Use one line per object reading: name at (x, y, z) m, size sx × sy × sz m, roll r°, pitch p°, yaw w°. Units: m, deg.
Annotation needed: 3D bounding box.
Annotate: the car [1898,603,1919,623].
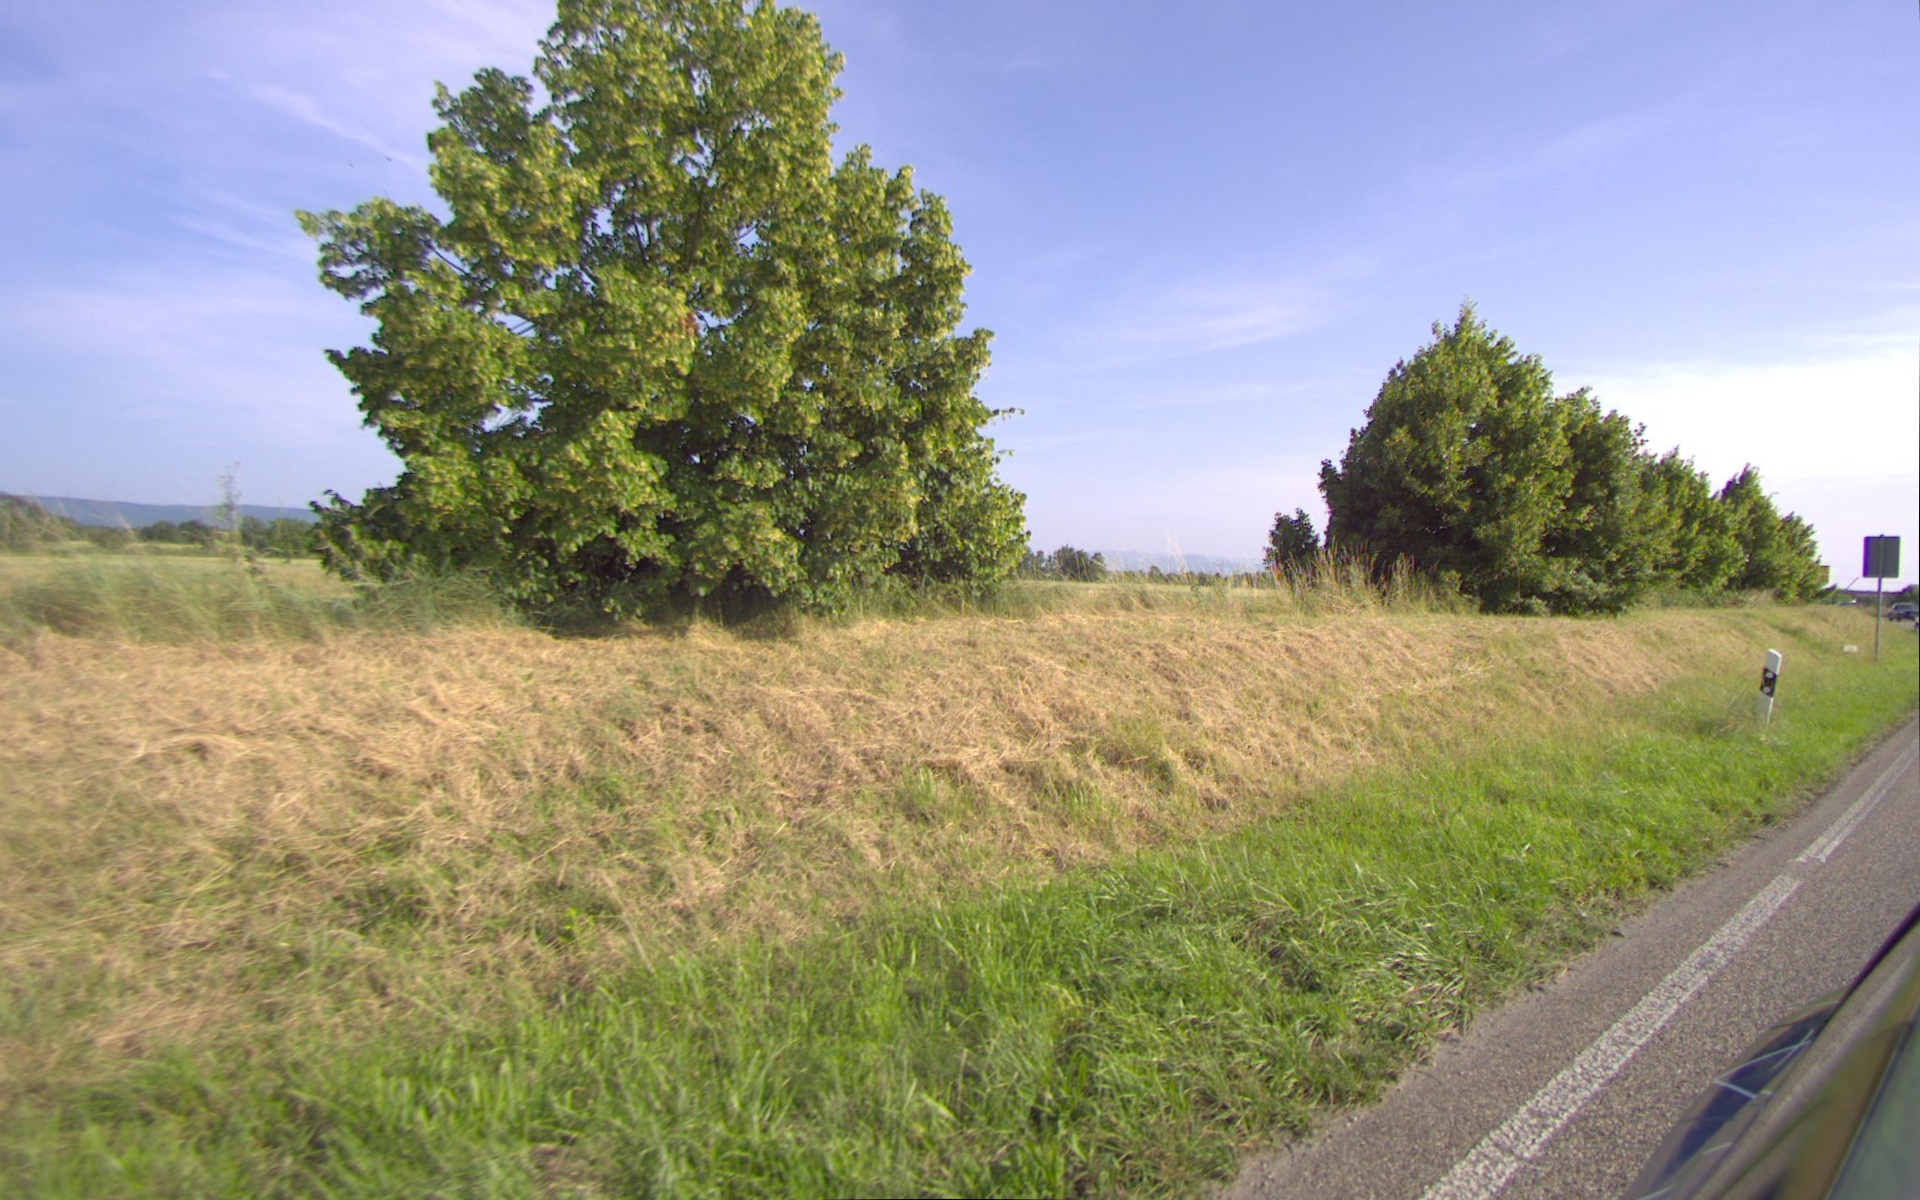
car at (78.162, 1.043, 82.638) m, size 1.742 × 1.549 × 3.949 m, roll 1°, pitch 1°, yaw 35°
